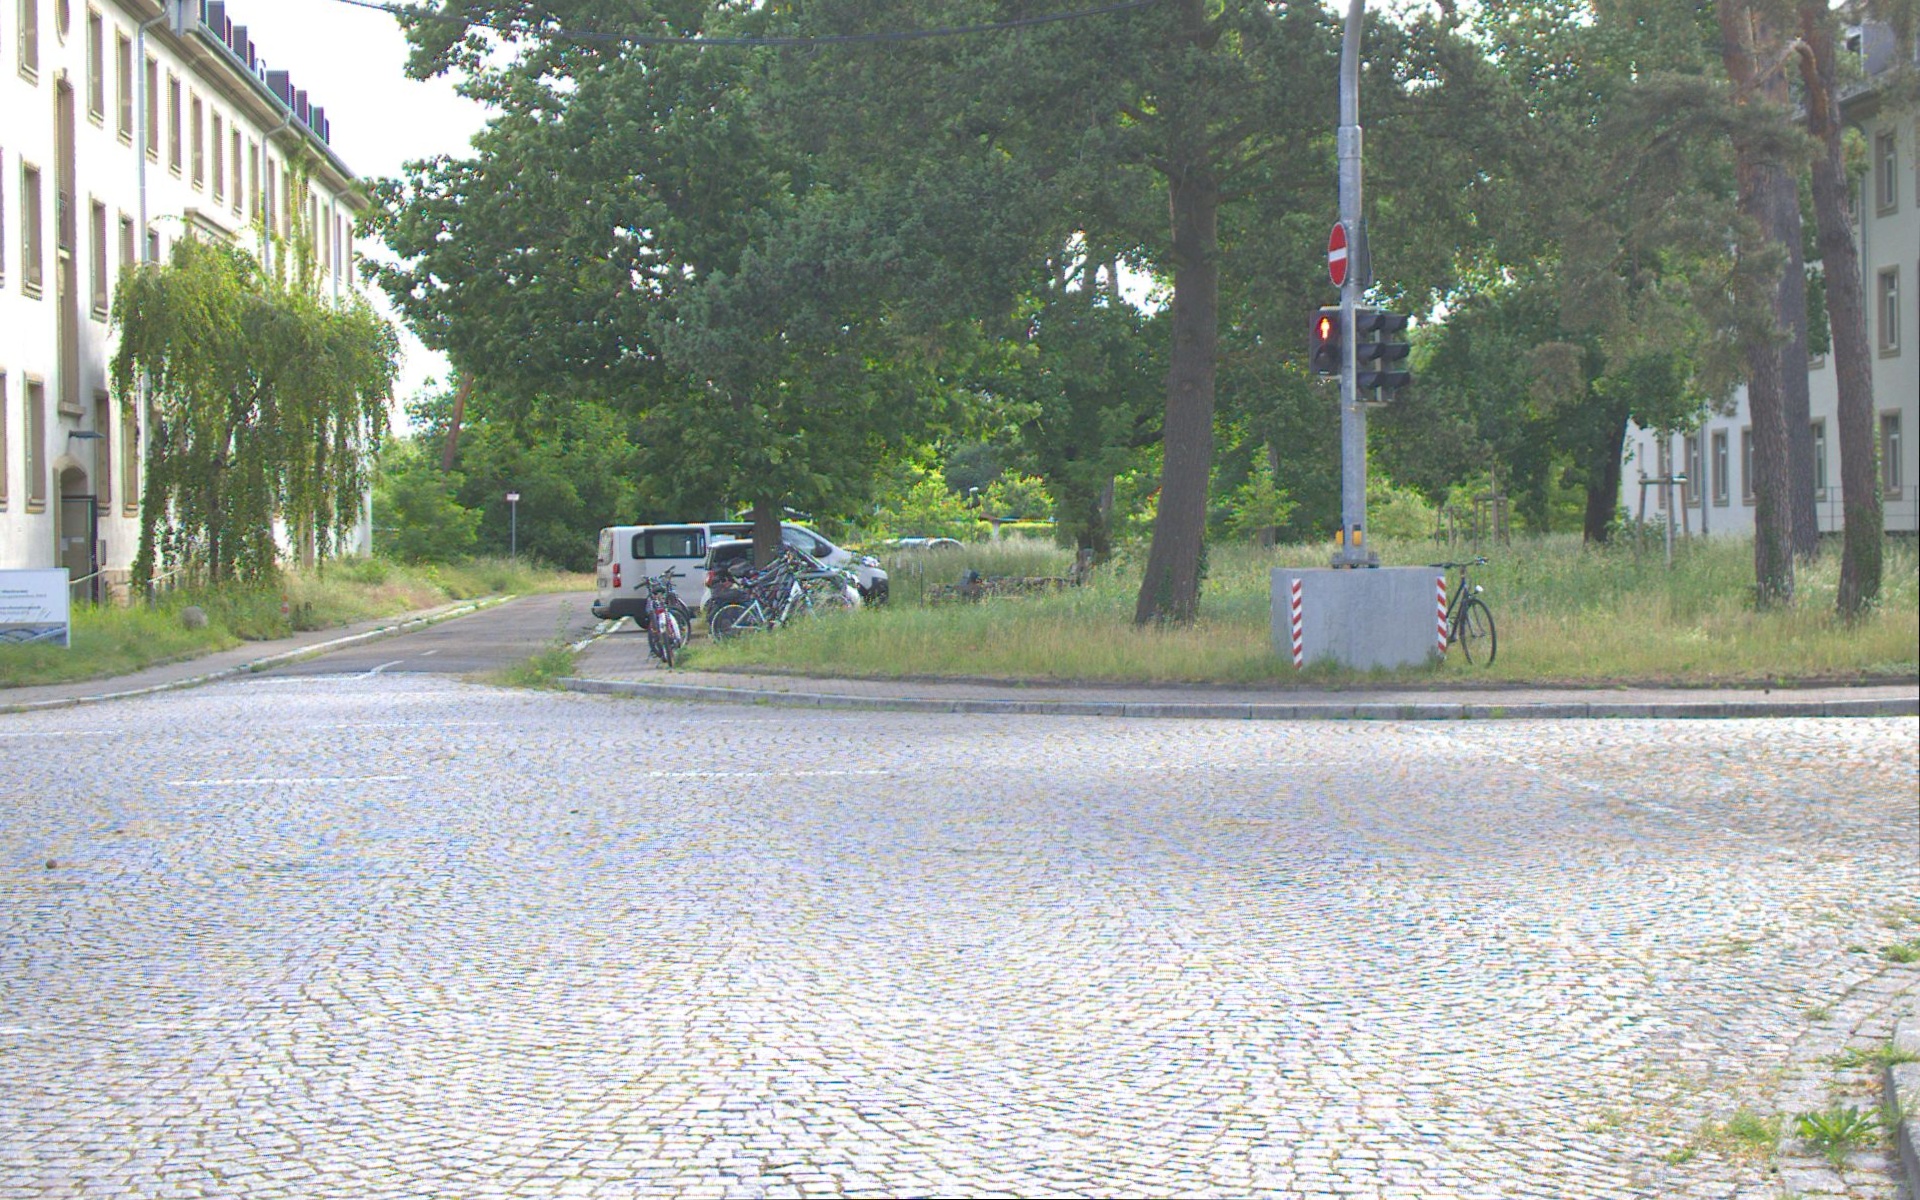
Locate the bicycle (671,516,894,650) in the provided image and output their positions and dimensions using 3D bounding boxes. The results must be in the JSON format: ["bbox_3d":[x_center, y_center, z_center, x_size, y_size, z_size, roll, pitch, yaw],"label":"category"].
[{"bbox_3d":[-2.344,-0.236,45.257,2.775,1.688,1.120,-1,1,-11],"label":"bicycle"}]

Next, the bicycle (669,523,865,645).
[{"bbox_3d":[-2.807,-0.238,50.143,2.775,1.688,1.120,1,1,-2],"label":"bicycle"}]

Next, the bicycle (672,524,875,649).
[{"bbox_3d":[-2.634,-0.201,48.813,2.775,1.688,1.120,1,1,0],"label":"bicycle"}]

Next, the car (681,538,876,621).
[{"bbox_3d":[-3.100,-0.361,58.436,3.137,1.349,1.620,-1,1,-9],"label":"car"}]

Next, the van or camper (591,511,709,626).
[{"bbox_3d":[-5.626,-0.606,62.472,1.993,1.942,6.053,-1,1,-5],"label":"van or camper"}]

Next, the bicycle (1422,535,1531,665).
[{"bbox_3d":[4.881,-0.018,32.660,0.724,1.165,2.737,1,1,3],"label":"bicycle"}]

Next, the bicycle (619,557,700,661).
[{"bbox_3d":[-3.451,0.087,39.713,0.725,1.104,2.462,-5,1,-2],"label":"bicycle"}]

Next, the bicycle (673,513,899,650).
[{"bbox_3d":[-2.240,-0.242,44.066,2.775,1.688,1.120,-1,1,-9],"label":"bicycle"}]
